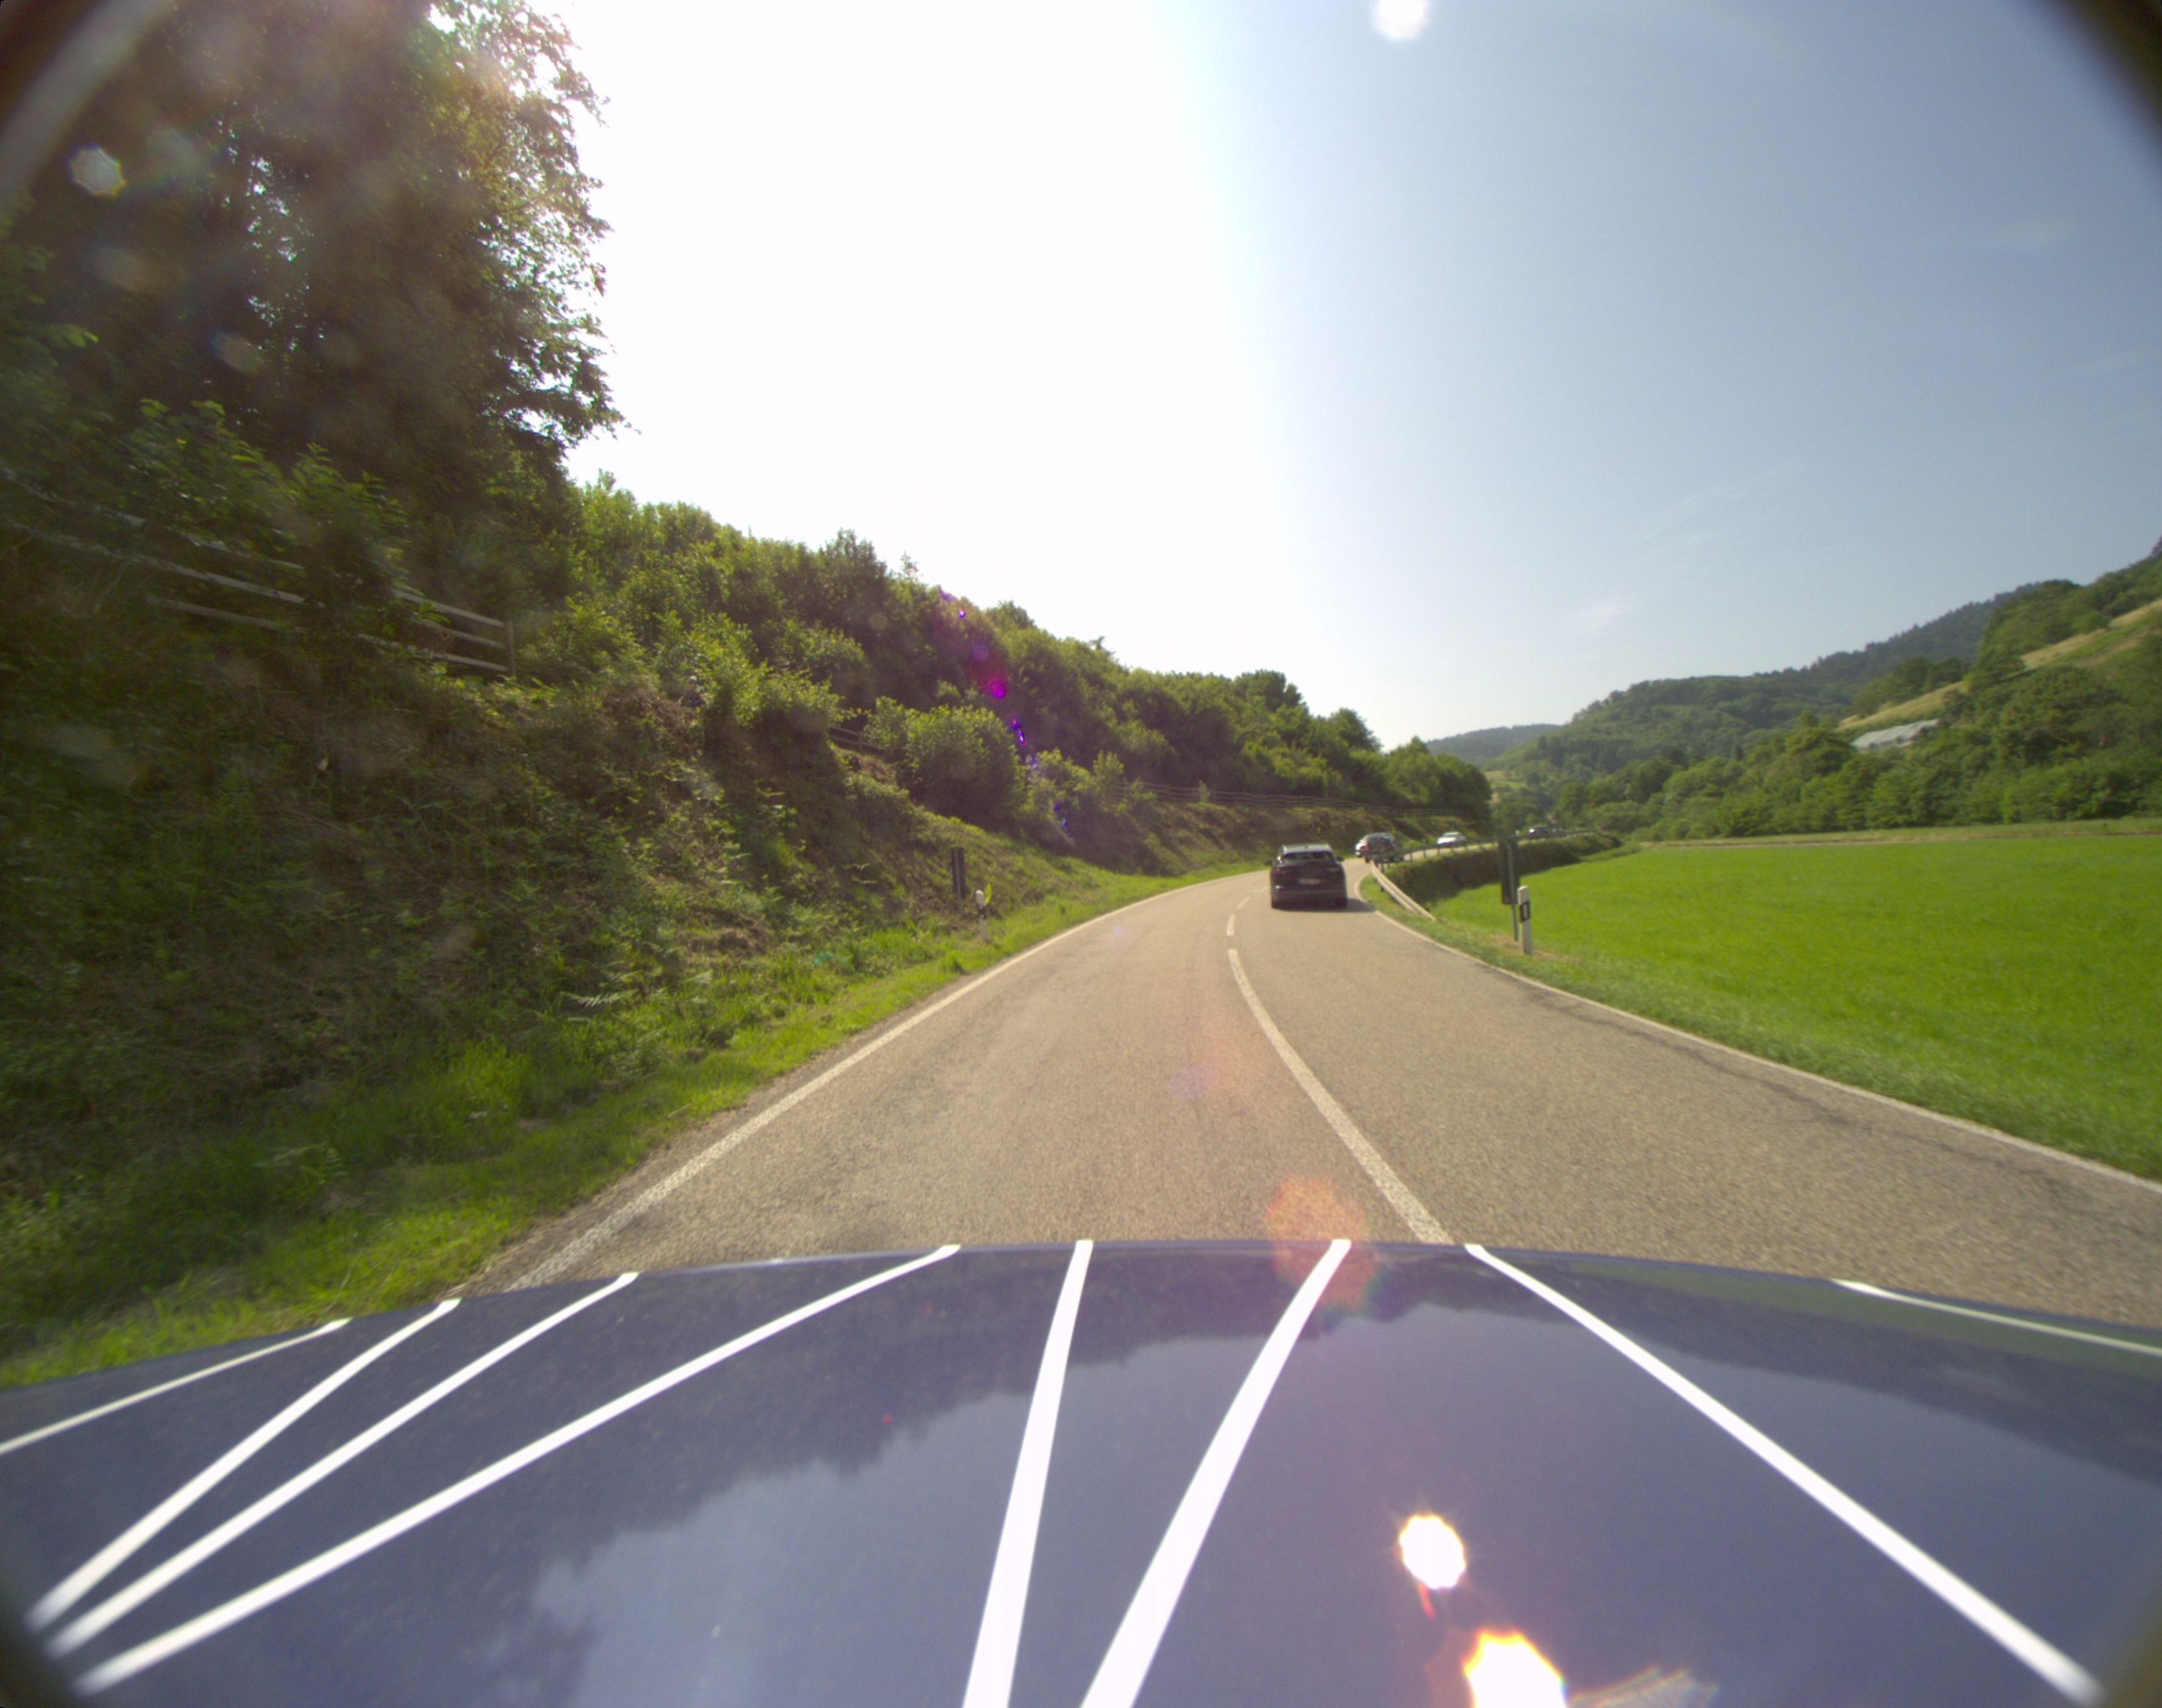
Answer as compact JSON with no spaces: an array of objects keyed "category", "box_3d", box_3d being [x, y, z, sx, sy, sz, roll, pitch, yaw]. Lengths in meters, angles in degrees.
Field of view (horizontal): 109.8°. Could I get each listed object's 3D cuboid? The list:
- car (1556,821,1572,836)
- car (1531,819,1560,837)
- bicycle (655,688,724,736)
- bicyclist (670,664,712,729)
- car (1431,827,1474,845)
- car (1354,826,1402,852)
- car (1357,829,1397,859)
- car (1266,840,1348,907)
[{"category":"car","box_3d":[73.235,-3.855,115.132,1.995,2.002,4.006,-3,2,33]},{"category":"car","box_3d":[51.196,-2.878,83.687,4.007,1.665,1.709,-4,-1,-45]},{"category":"bicycle","box_3d":[-10.205,-3.687,19.873,0.624,0.909,1.598,-5,-1,14]},{"category":"bicyclist","box_3d":[-10.225,-4.118,19.950,0.624,1.515,0.614,-5,0,13]},{"category":"car","box_3d":[34.621,-1.673,70.712,4.681,1.482,2.142,-3,1,-44]},{"category":"car","box_3d":[22.533,-1.126,57.558,2.114,1.803,4.464,-4,-1,39]},{"category":"car","box_3d":[18.278,-0.647,46.743,1.951,1.730,4.904,-1,1,25]},{"category":"car","box_3d":[6.017,0.427,20.272,1.878,1.578,4.600,0,1,17]}]
